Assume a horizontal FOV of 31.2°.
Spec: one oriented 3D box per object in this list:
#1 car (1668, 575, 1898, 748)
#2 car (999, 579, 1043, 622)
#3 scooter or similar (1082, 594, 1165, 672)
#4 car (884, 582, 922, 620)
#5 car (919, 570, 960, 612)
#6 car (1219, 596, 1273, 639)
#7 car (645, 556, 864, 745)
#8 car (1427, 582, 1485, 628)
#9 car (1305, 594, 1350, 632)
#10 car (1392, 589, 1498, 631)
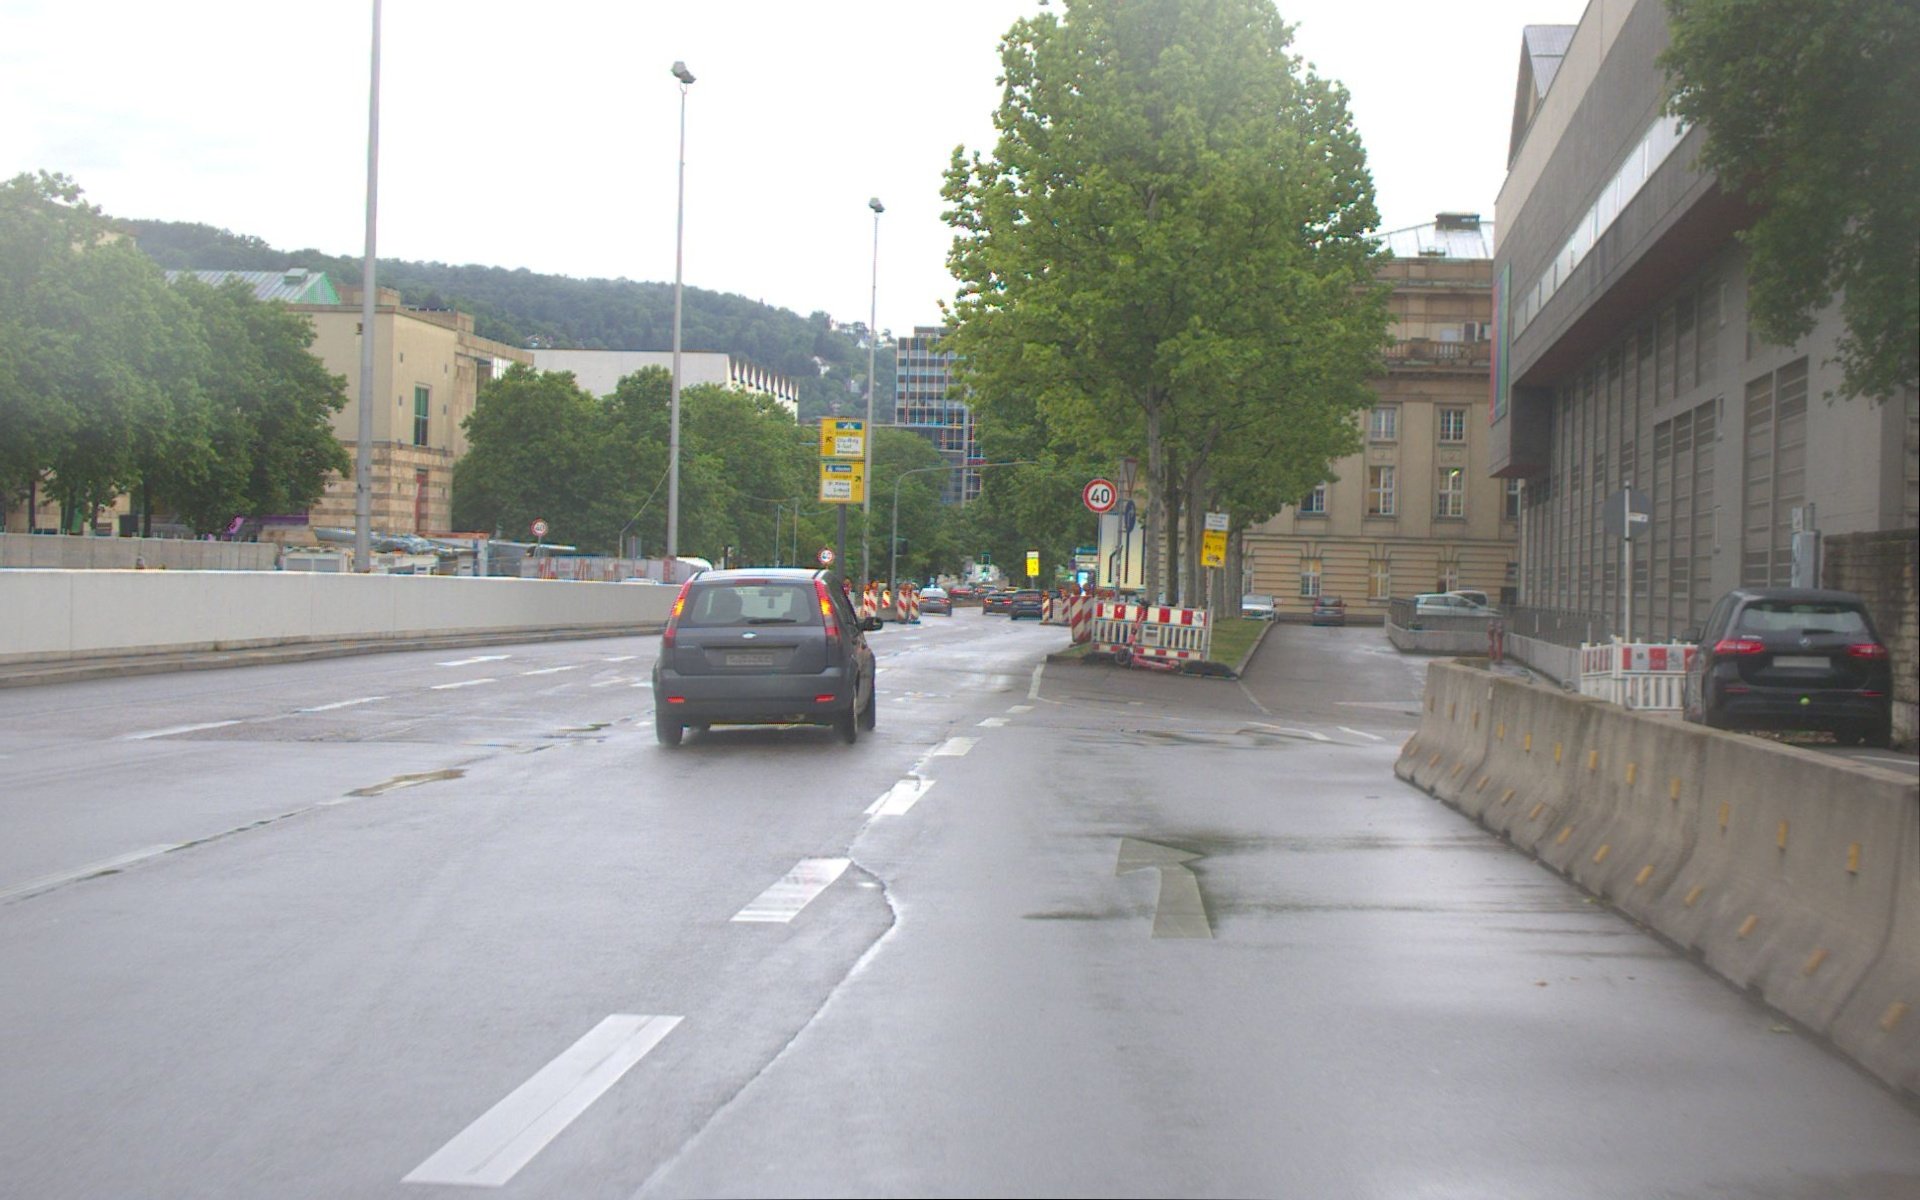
[{"bbox_3d":[8.184,0.560,34.500,1.805,1.546,4.324,3,1,8],"label":"car"},{"bbox_3d":[3.097,-0.001,174.669,1.994,2.007,4.000,3,1,3],"label":"car"},{"bbox_3d":[2.889,0.584,60.679,1.356,1.281,0.619,4,-1,5],"label":"scooter or similar"},{"bbox_3d":[-2.164,0.042,130.838,1.385,1.382,3.067,1,0,-1],"label":"car"},{"bbox_3d":[-1.087,-0.450,183.198,1.993,2.007,4.000,4,-1,-1],"label":"car"},{"bbox_3d":[12.483,0.743,149.827,1.994,1.702,3.999,3,1,8],"label":"car"},{"bbox_3d":[-1.712,0.378,29.103,1.670,1.422,3.758,3,1,-3],"label":"car"},{"bbox_3d":[20.514,0.230,142.295,1.994,1.754,5.095,1,-1,4],"label":"car"},{"bbox_3d":[18.261,0.645,170.698,1.994,1.703,3.998,3,-1,8],"label":"car"},{"bbox_3d":[18.953,0.408,134.436,3.987,1.554,1.933,0,-3,4],"label":"car"}]
